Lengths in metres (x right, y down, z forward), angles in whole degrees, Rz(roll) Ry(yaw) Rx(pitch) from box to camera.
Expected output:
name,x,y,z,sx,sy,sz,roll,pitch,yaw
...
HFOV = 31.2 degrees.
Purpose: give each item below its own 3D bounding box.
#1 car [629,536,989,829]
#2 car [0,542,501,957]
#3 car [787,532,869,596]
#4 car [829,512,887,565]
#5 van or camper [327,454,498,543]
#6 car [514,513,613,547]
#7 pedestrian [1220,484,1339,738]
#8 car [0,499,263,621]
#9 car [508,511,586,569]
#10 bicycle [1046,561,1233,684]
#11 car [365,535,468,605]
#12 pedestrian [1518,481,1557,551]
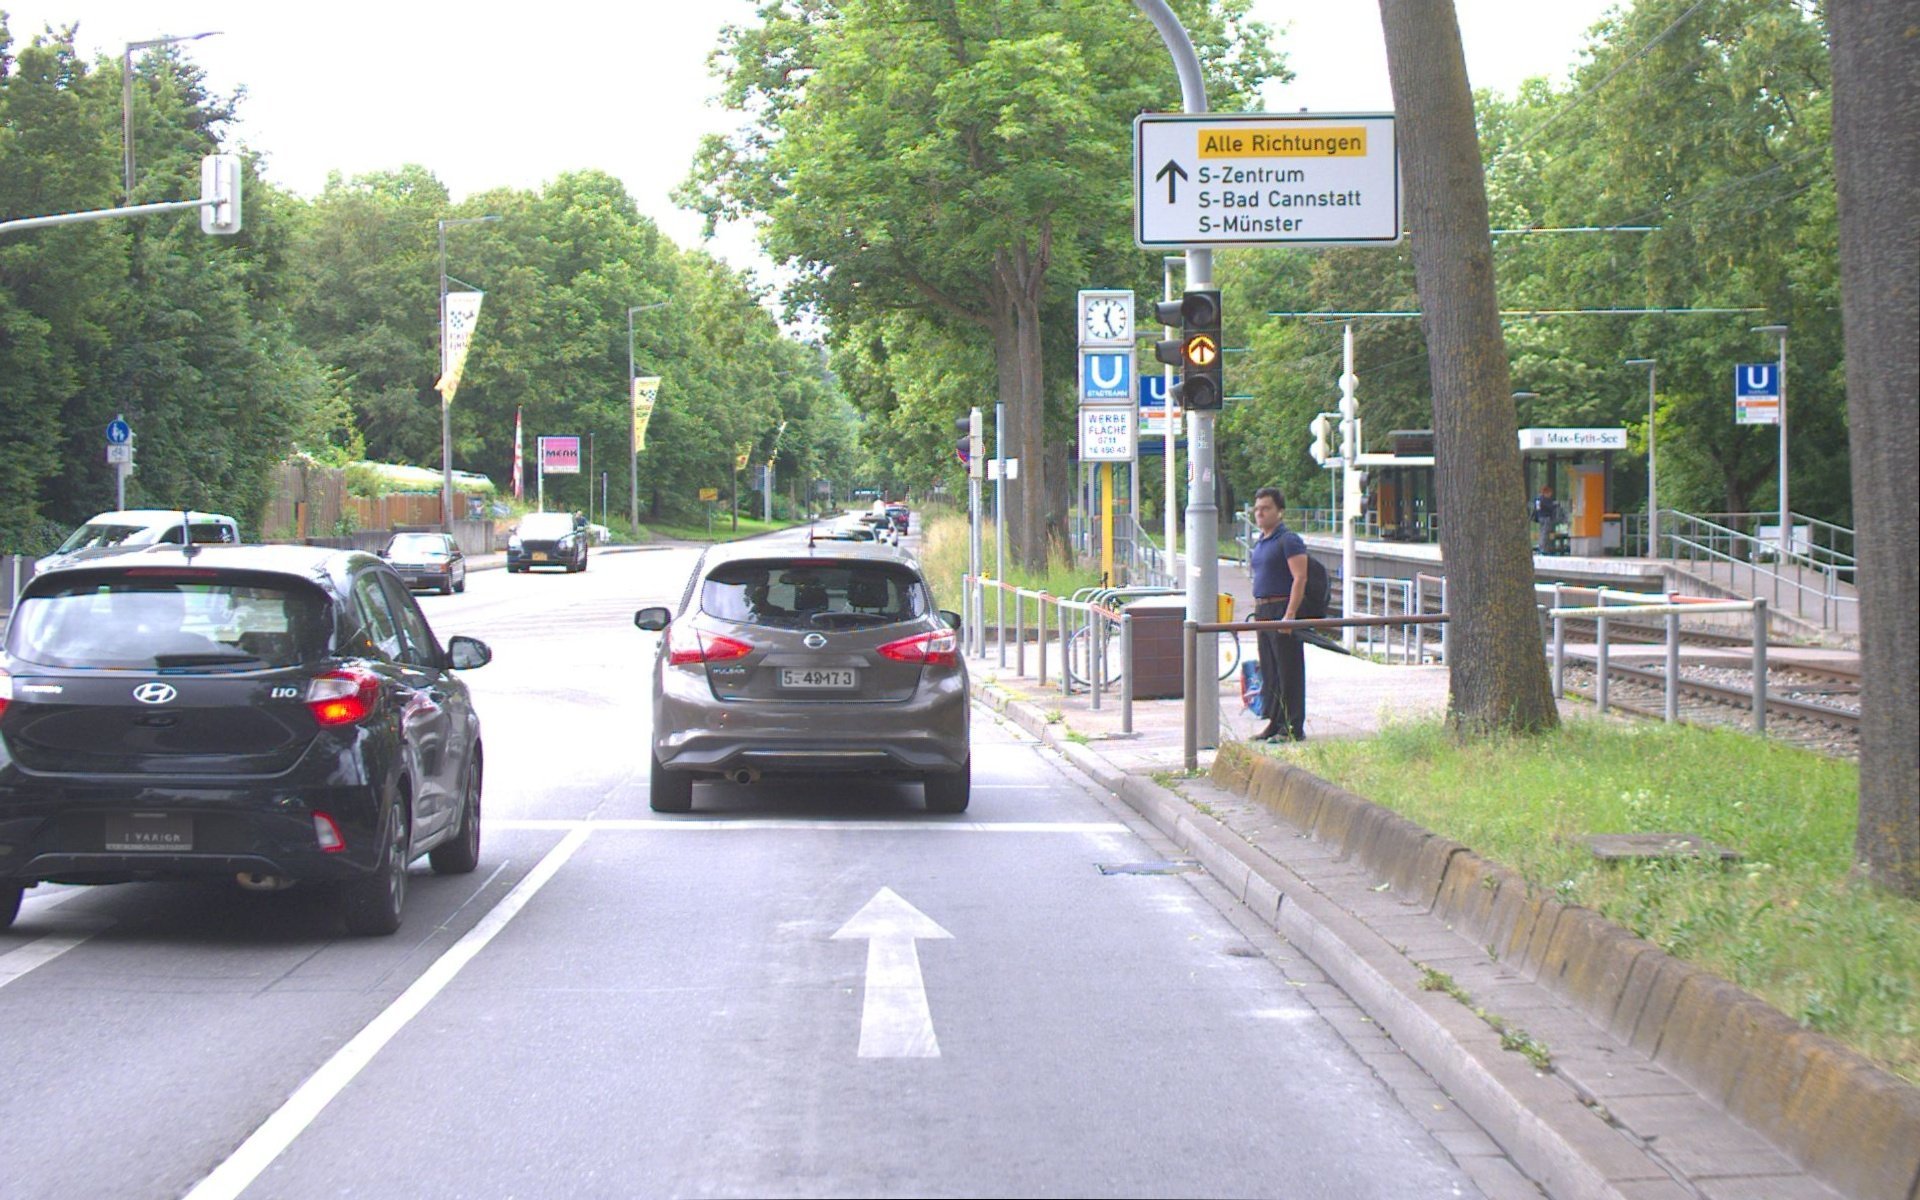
name,x,y,z,sx,sy,sz,roll,pitch,yaw
car,-0.785,0.401,20.229,1.837,1.523,3.929,1,1,1
car,-2.979,0.506,14.186,1.703,1.475,3.667,0,1,0
car,-3.163,-0.890,82.864,1.710,1.470,3.671,1,1,1
car,-2.986,-1.810,101.043,1.503,1.523,3.671,1,1,1
van or camper,-25.065,-4.654,157.531,7.141,3.359,2.797,5,1,0
car,-18.186,-3.220,157.771,4.374,1.436,1.962,2,1,-3
pedestrian,2.240,0.070,24.175,0.752,1.731,0.839,-2,1,4
car,-13.315,-0.655,55.485,1.944,1.867,4.537,1,1,20
car,-12.122,-1.767,101.040,1.901,1.673,5.081,0,1,-3
bicycle,1.712,0.211,32.894,1.674,1.086,0.602,-3,1,-4
car,-12.056,-0.686,76.473,1.741,1.459,4.343,2,1,-2
pedestrian,12.637,-1.836,75.267,0.718,1.506,0.724,2,1,2
